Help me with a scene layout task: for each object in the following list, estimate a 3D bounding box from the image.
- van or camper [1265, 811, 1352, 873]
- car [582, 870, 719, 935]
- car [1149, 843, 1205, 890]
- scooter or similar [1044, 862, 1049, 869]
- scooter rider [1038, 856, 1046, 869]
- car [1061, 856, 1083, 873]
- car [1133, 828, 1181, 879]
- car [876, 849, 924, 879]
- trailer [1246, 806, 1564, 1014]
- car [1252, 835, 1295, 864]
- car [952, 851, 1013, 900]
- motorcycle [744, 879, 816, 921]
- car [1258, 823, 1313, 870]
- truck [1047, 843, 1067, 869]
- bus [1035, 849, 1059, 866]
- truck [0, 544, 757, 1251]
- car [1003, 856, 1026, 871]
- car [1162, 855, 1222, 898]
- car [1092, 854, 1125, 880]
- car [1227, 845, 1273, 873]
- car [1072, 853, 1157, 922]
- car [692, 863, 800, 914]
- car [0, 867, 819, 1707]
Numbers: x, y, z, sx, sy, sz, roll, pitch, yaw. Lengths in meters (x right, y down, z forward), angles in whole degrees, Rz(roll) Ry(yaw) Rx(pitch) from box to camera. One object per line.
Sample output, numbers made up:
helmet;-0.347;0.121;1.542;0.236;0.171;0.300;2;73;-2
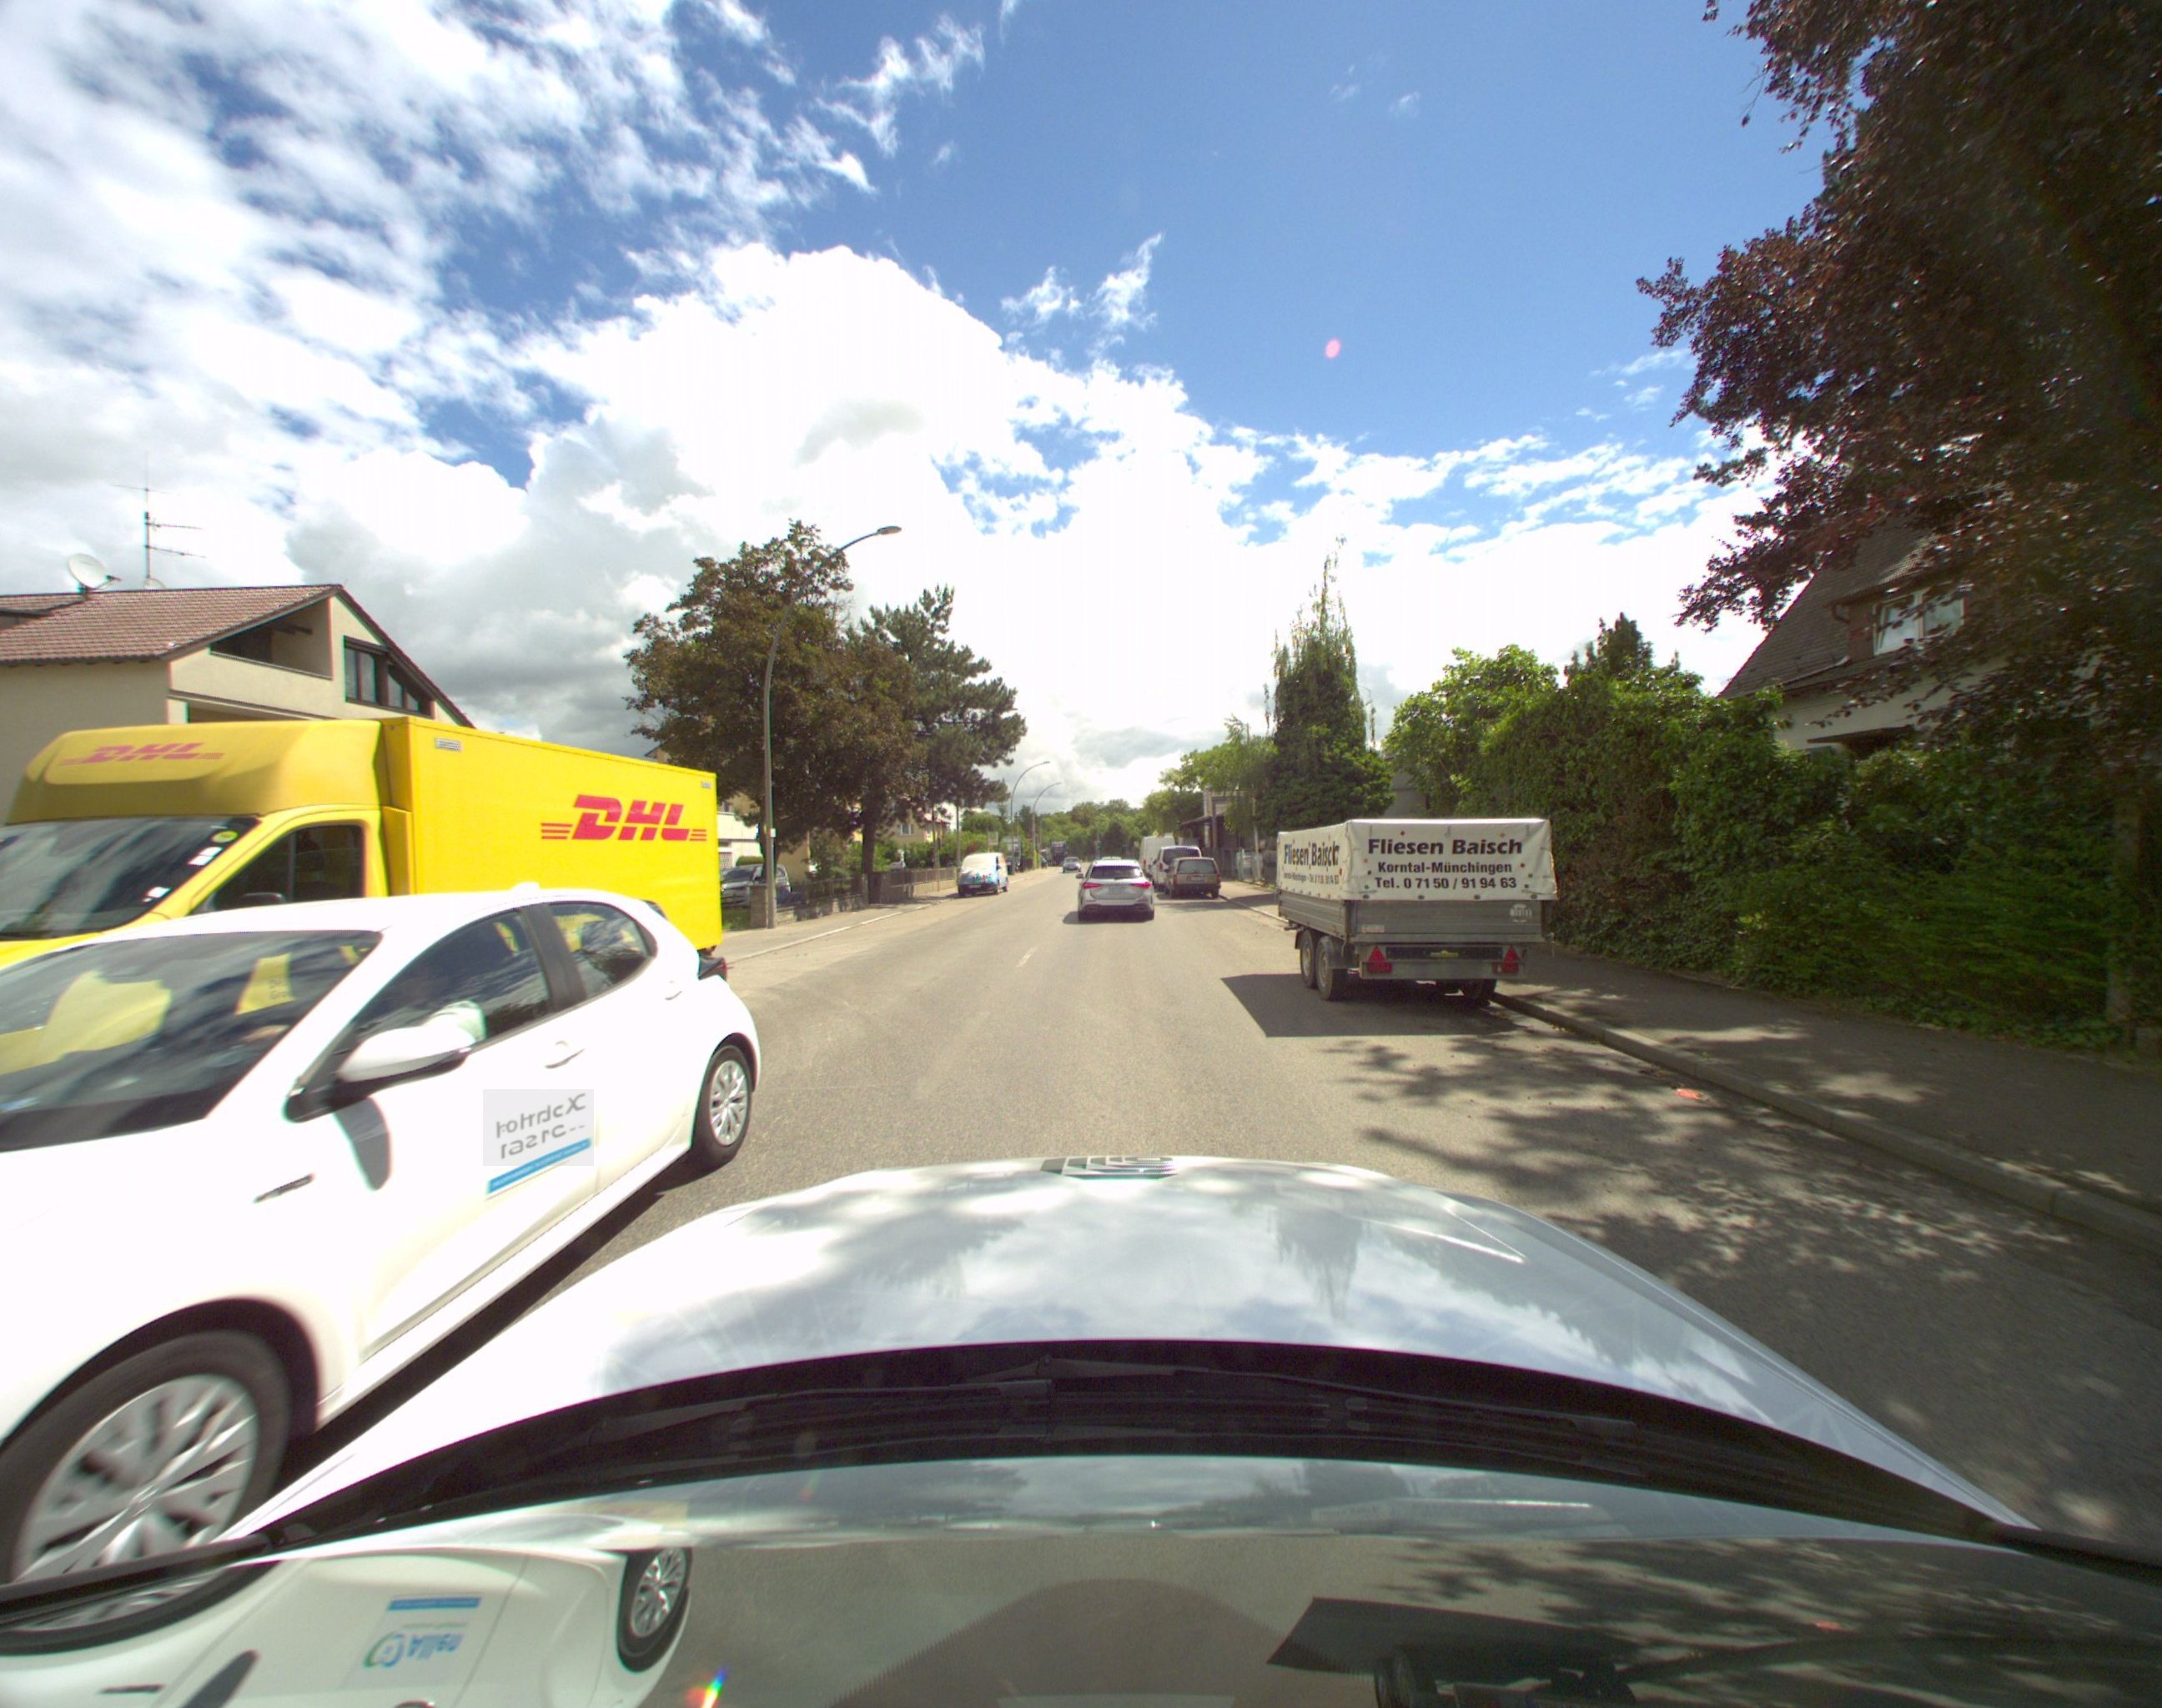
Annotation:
van or camper;12.394;-0.617;45.073;2.871;3.061;6.914;-2;0;1
car;-12.135;1.306;23.260;1.762;1.543;4.085;-3;0;-2
car;4.125;0.496;35.710;1.898;1.885;5.390;-1;0;1
scooter or similar;-4.308;1.402;102.488;0.609;0.831;0.659;-1;0;2
scooter rider;-4.863;1.021;102.816;0.875;1.589;0.796;-2;0;2
car;-0.810;1.010;78.867;1.894;1.518;4.319;-3;0;1
car;4.428;-0.014;48.548;2.207;2.689;6.658;-3;0;1
car;-16.435;0.870;74.271;2.401;2.495;6.144;-4;0;5
trailer;3.343;0.501;9.584;1.986;1.823;4.767;-1;0;2
car;13.636;-0.350;57.932;1.986;1.910;4.855;-2;0;2
car;-4.368;0.882;36.786;1.826;1.853;4.898;-6;0;2
motorcycle;-8.974;1.379;24.329;1.855;1.165;0.828;-2;0;18
car;12.732;-0.496;51.094;2.011;2.681;5.498;-2;1;1
truck;-4.034;0.361;135.524;2.426;4.131;9.128;0;-1;-7
bus;-7.485;0.829;177.383;2.782;3.266;12.064;-3;0;-14
truck;-5.694;0.249;7.080;2.316;3.003;7.819;-4;0;1
car;-7.372;1.033;90.292;2.147;1.507;4.266;-3;0;-1
car;4.017;0.776;30.060;1.748;1.450;4.997;0;0;2
car;1.710;0.769;51.232;1.879;1.508;3.999;-2;0;0
car;9.740;0.242;47.241;1.758;1.489;4.929;-2;0;2
car;0.849;0.762;20.434;1.877;1.508;4.003;-2;0;3
car;-14.015;1.385;34.465;2.072;1.830;5.481;-3;0;2
car;-2.608;0.833;2.930;1.976;1.420;3.999;-3;0;0
